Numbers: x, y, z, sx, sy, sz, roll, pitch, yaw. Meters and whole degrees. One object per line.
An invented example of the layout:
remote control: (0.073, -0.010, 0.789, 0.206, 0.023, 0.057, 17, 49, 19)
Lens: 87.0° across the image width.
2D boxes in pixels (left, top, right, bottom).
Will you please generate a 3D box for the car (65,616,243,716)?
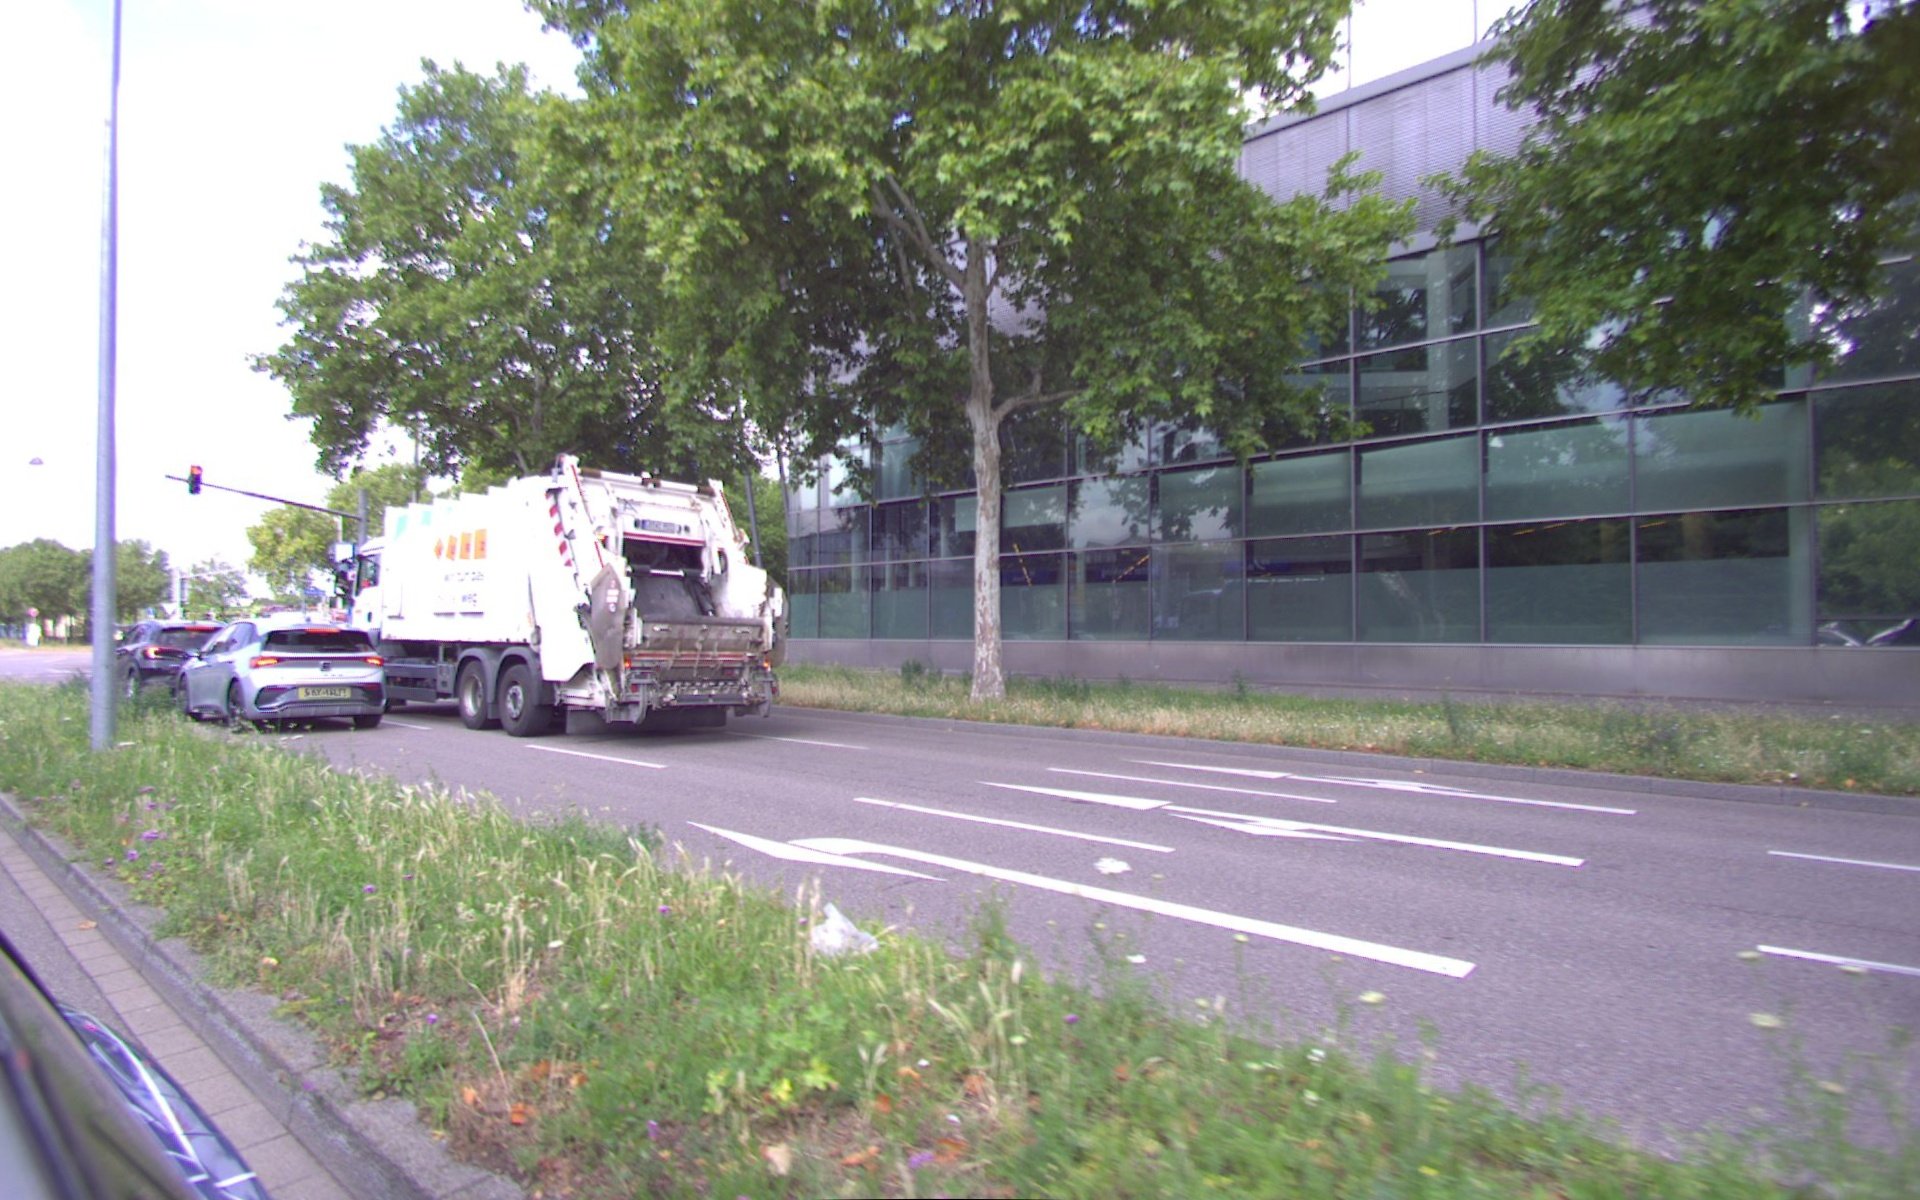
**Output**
car: (-14.687, 1.103, 18.366, 4.358, 1.599, 1.690, -1, -1, 40)

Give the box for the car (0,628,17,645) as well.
car: (-87.895, 3.298, 91.643, 1.723, 1.490, 3.804, 1, -3, -7)

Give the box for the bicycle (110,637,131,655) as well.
bicycle: (-65.392, 3.588, 78.817, 2.227, 1.205, 0.670, 1, 4, 34)

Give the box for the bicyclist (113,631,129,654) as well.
bicyclist: (-65.286, 3.328, 78.713, 0.835, 1.692, 0.670, 1, 3, 33)

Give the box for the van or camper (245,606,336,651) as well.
van or camper: (-47.196, 1.969, 71.540, 2.137, 2.806, 5.958, 3, 1, 4)

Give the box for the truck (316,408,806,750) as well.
truck: (-6.797, -0.096, 15.877, 10.153, 3.918, 2.622, -1, -4, 41)

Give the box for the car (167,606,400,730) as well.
car: (-9.988, 0.929, 14.820, 4.231, 1.564, 1.726, -1, -4, 41)

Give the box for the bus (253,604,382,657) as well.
bus: (-49.833, 2.224, 78.956, 2.712, 3.491, 10.379, 3, 1, 5)

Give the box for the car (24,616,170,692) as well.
car: (-19.838, 1.195, 23.210, 4.565, 1.586, 1.846, -2, -2, 40)
